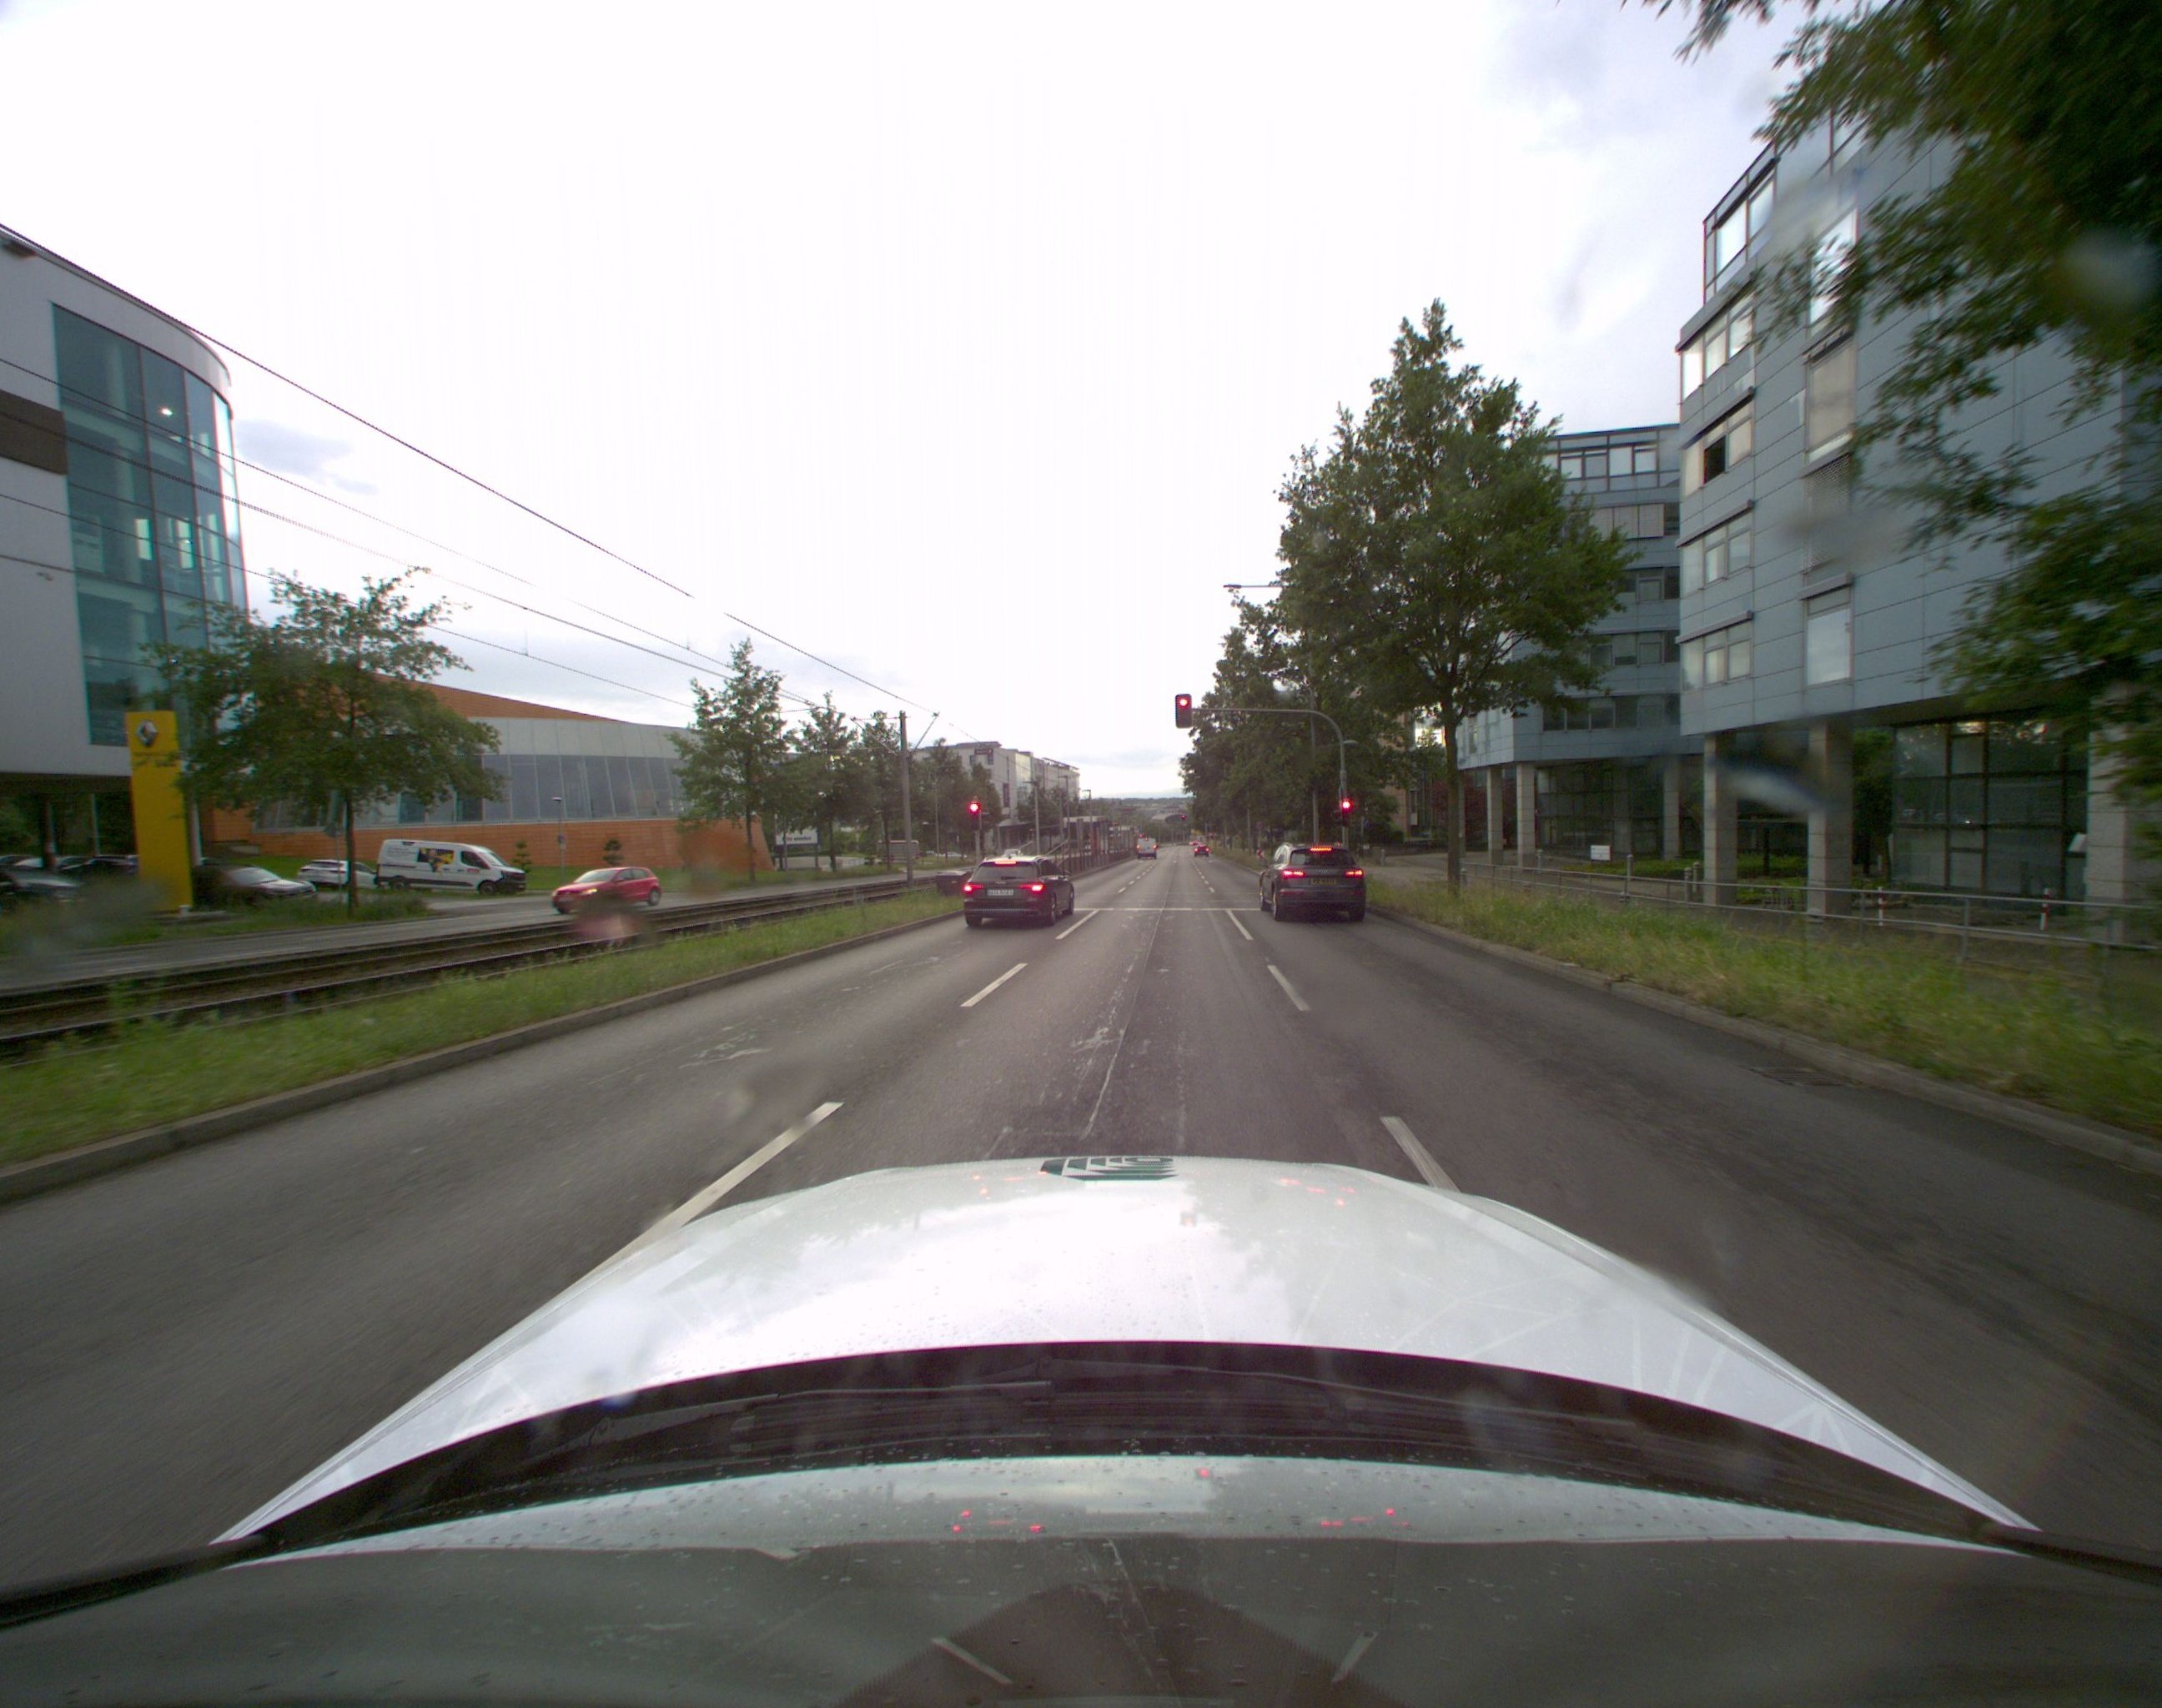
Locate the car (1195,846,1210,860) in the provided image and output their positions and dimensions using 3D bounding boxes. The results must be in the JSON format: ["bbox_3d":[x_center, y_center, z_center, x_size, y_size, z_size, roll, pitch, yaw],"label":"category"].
[{"bbox_3d":[15.103,-0.190,101.246,1.765,1.691,3.853,-1,0,7],"label":"car"}]

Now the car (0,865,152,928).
[{"bbox_3d":[-30.248,1.193,23.470,4.352,1.615,1.997,1,0,-4],"label":"car"}]

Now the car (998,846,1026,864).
[{"bbox_3d":[-7.085,0.071,84.022,1.984,1.719,4.849,-3,0,6],"label":"car"}]

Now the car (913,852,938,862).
[{"bbox_3d":[-22.484,0.371,117.714,3.339,1.387,1.441,-1,1,23],"label":"car"}]

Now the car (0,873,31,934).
[{"bbox_3d":[-30.316,1.257,20.699,4.352,1.550,1.997,1,0,-4],"label":"car"}]

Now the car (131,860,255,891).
[{"bbox_3d":[-41.200,0.965,37.941,1.996,1.280,3.981,-1,1,-14],"label":"car"}]

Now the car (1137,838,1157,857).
[{"bbox_3d":[7.393,-0.722,90.765,2.082,2.053,4.614,-1,0,6],"label":"car"}]

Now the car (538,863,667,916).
[{"bbox_3d":[-15.990,1.135,27.492,1.577,1.513,4.108,-3,0,5],"label":"car"}]

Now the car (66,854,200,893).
[{"bbox_3d":[-43.465,0.852,37.490,1.996,1.632,3.981,-1,1,-14],"label":"car"}]

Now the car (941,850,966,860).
[{"bbox_3d":[-21.710,0.110,138.916,3.850,1.436,1.658,-3,0,4],"label":"car"}]

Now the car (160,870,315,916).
[{"bbox_3d":[-29.077,1.328,28.147,3.632,1.391,1.581,-1,1,0],"label":"car"}]

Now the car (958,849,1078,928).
[{"bbox_3d":[-1.219,0.654,17.835,1.771,1.466,4.522,-1,0,7],"label":"car"}]

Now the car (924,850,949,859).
[{"bbox_3d":[-25.089,0.088,141.746,4.086,1.436,1.651,-3,0,-8],"label":"car"}]

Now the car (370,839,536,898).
[{"bbox_3d":[-29.379,0.664,38.304,5.607,2.581,2.397,1,0,-11],"label":"car"}]

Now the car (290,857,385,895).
[{"bbox_3d":[-34.569,0.979,38.015,1.728,1.665,3.730,-1,0,-15],"label":"car"}]

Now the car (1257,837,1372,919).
[{"bbox_3d":[5.147,0.461,18.519,1.808,1.612,4.479,-1,0,7],"label":"car"}]
